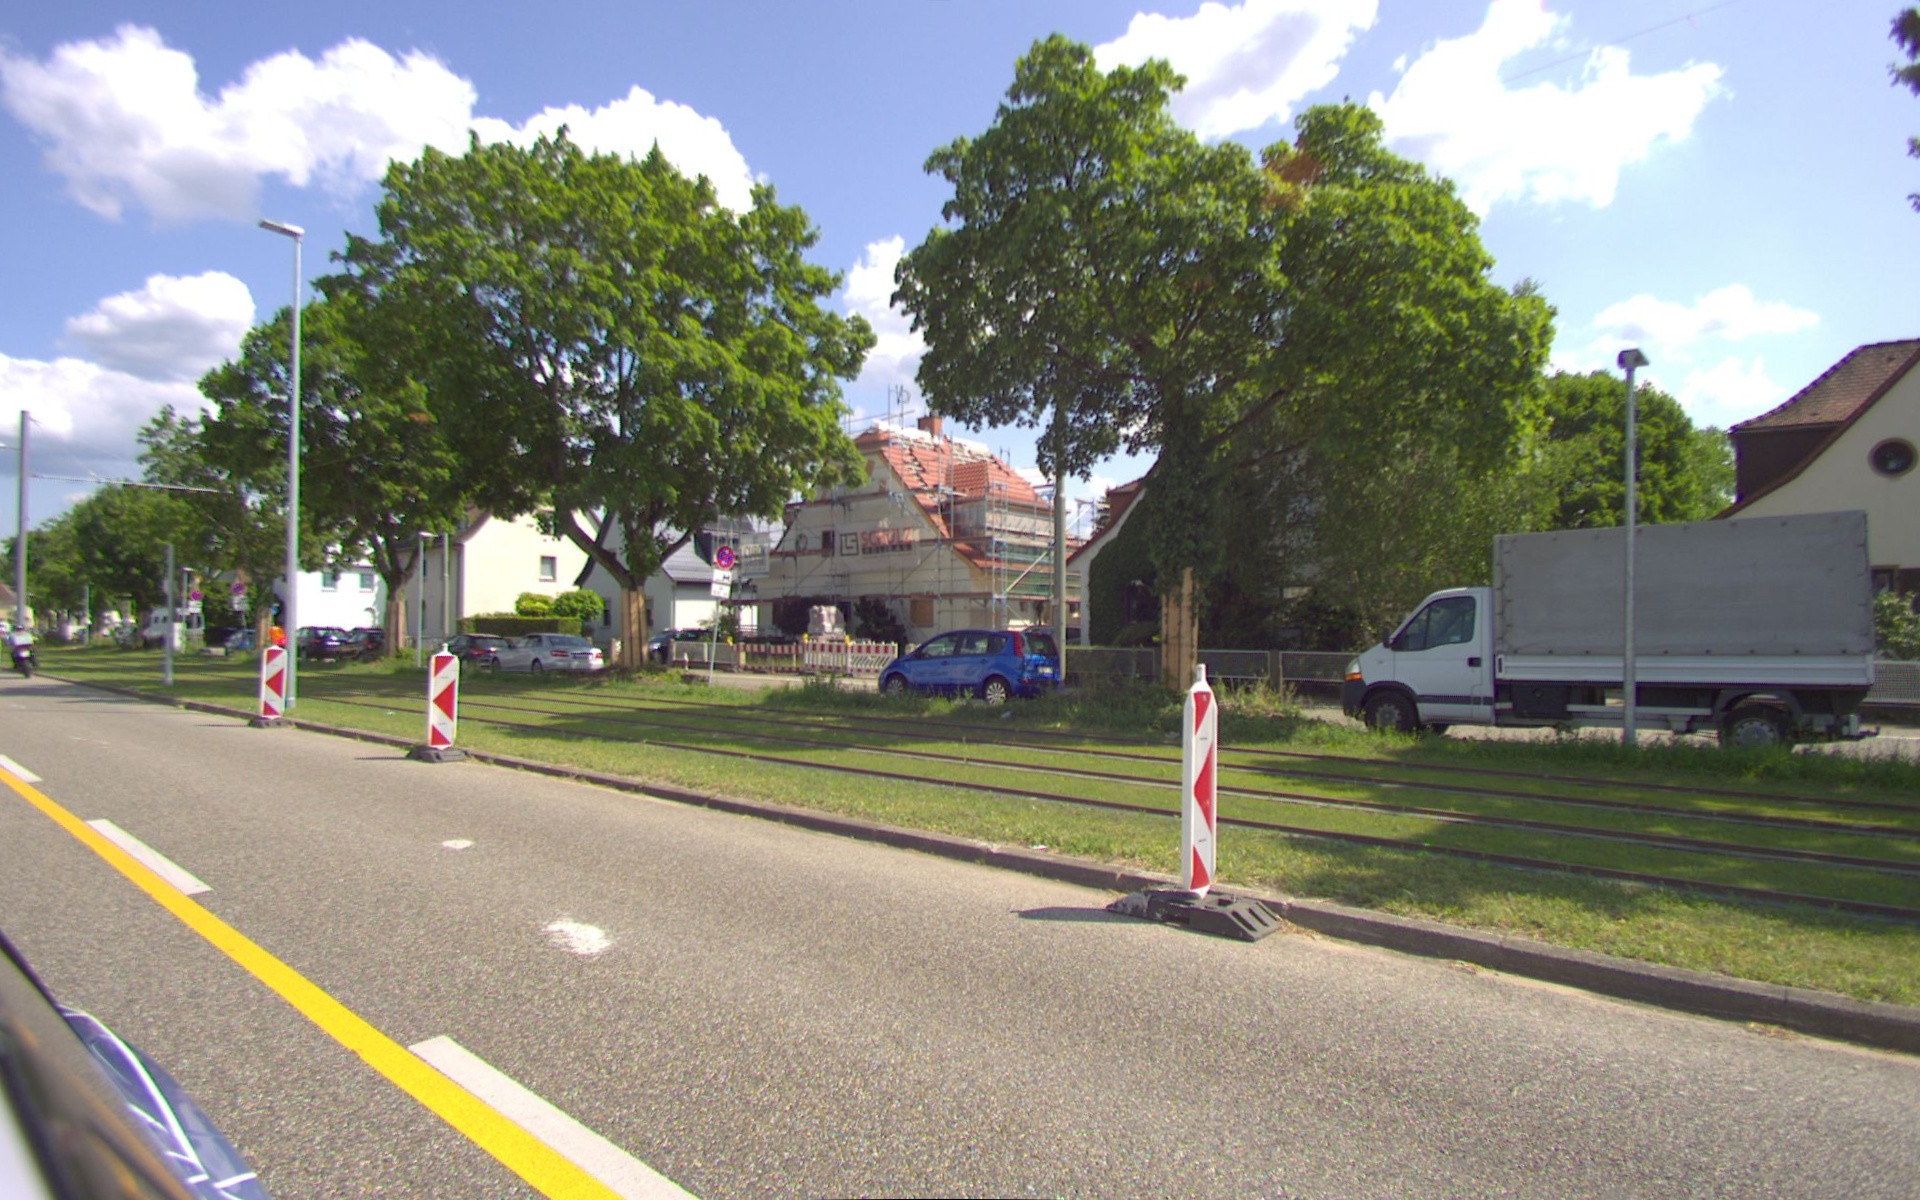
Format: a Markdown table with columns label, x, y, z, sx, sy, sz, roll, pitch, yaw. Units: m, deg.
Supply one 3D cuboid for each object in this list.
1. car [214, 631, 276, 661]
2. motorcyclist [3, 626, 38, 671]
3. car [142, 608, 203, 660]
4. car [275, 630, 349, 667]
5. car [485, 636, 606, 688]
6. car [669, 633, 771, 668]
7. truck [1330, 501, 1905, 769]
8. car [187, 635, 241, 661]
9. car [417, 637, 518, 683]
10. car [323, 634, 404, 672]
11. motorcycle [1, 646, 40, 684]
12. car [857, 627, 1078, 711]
| label | x | y | z | sx | sy | sz | roll | pitch | yaw |
| --- | --- | --- | --- | --- | --- | --- | --- | --- | --- |
| car | -37.493 | 2.431 | 53.050 | 4.403 | 1.497 | 1.680 | -3 | -3 | 41 |
| motorcyclist | -27.722 | 1.425 | 29.869 | 0.779 | 1.301 | 0.650 | -2 | -3 | 42 |
| car | -49.493 | 2.164 | 63.587 | 5.080 | 3.061 | 2.108 | -3 | -3 | 41 |
| car | -29.515 | 2.227 | 46.050 | 4.403 | 1.584 | 1.680 | -3 | -3 | 41 |
| car | -13.110 | 1.934 | 31.849 | 4.520 | 1.497 | 1.765 | -4 | -3 | 42 |
| car | -10.925 | 2.295 | 46.211 | 1.702 | 1.497 | 4.345 | -3 | -3 | 41 |
| truck | 8.299 | 0.456 | 13.403 | 5.971 | 2.802 | 2.242 | -2 | -3 | 41 |
| car | -44.476 | 2.879 | 60.330 | 4.403 | 1.497 | 1.680 | -3 | -3 | 41 |
| car | -17.520 | 2.122 | 35.894 | 4.403 | 1.497 | 1.680 | -3 | -3 | 41 |
| car | -25.179 | 2.256 | 42.651 | 4.403 | 1.497 | 1.680 | -3 | -3 | 41 |
| motorcycle | -27.709 | 1.906 | 29.850 | 2.111 | 1.054 | 0.650 | -2 | -3 | 43 |
| car | 0.060 | 1.353 | 20.272 | 4.403 | 1.497 | 1.680 | -3 | -3 | 41 |
